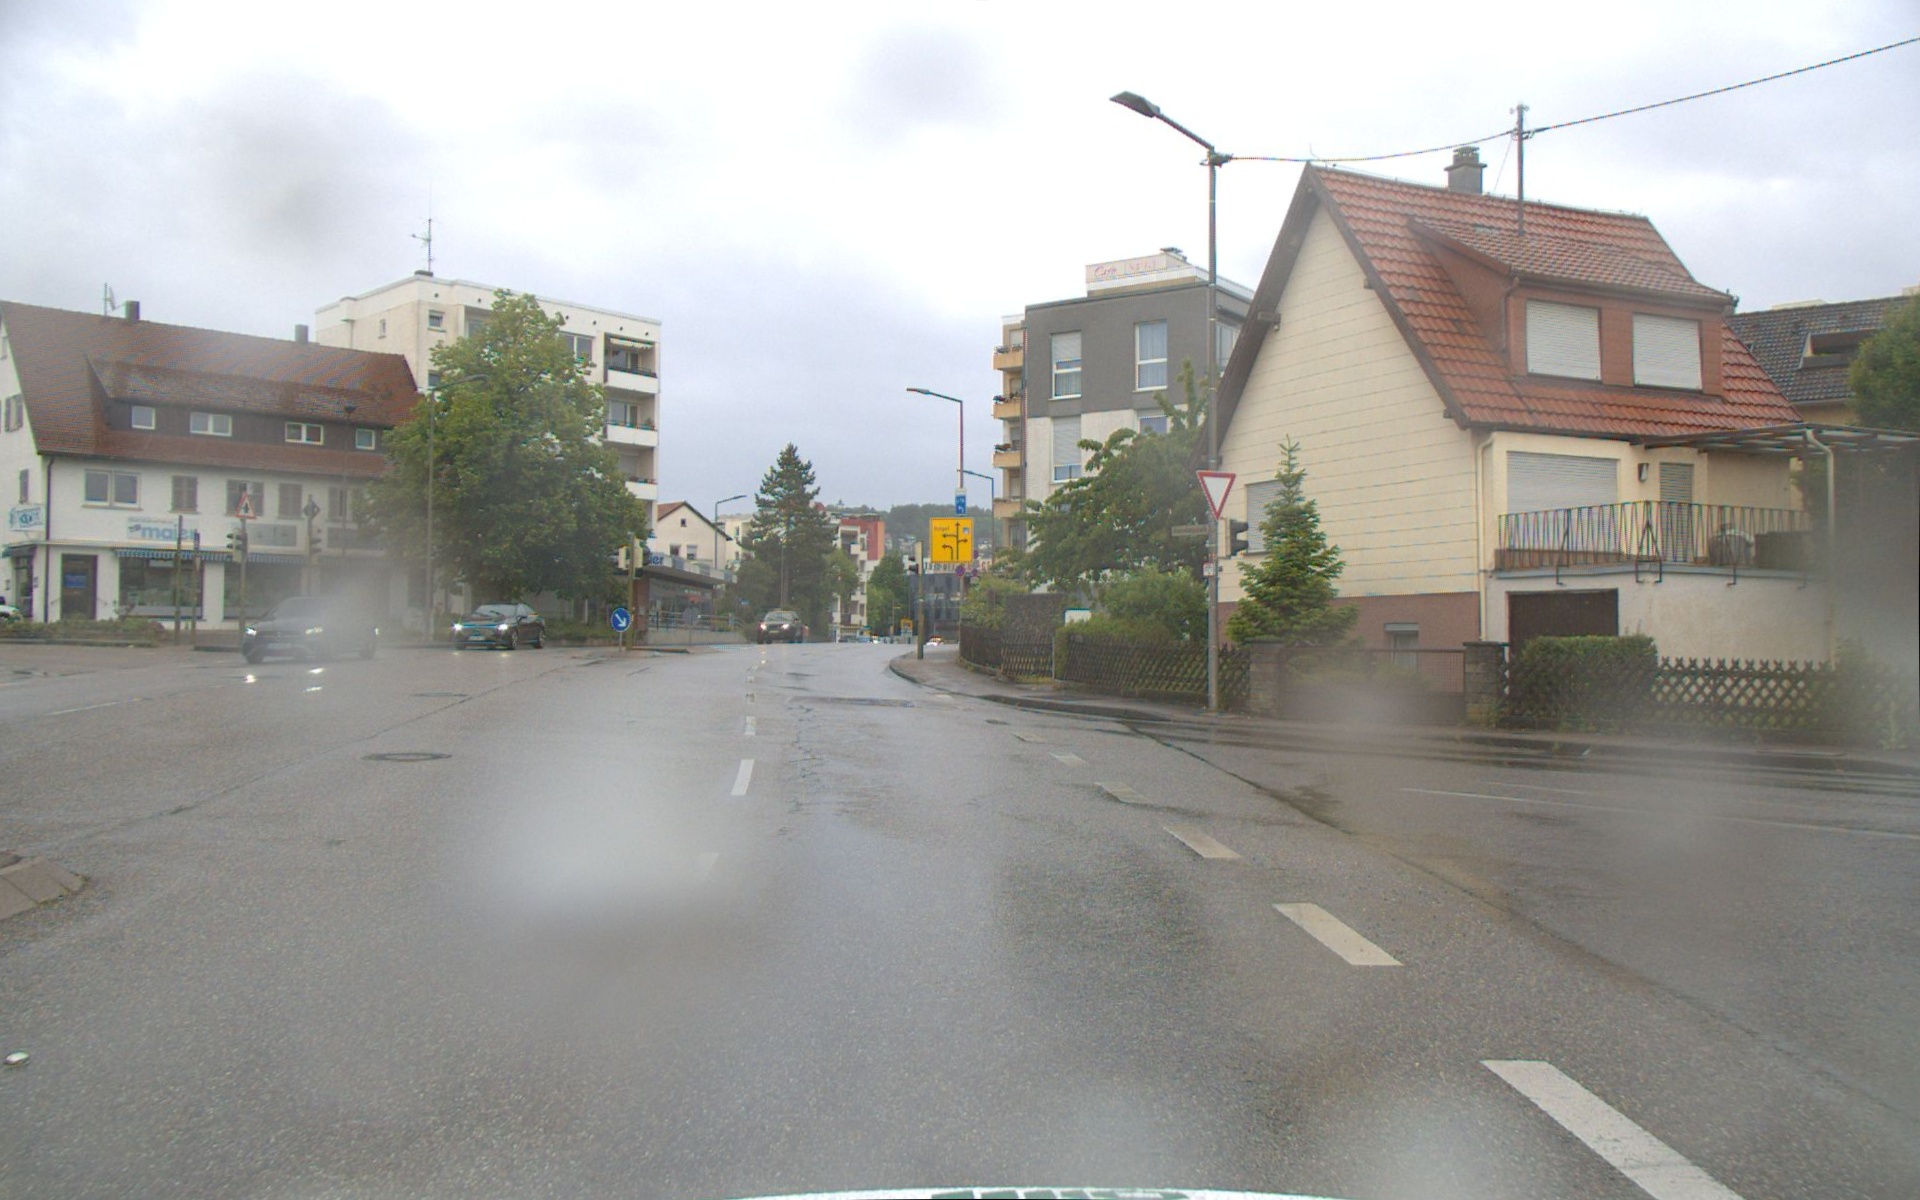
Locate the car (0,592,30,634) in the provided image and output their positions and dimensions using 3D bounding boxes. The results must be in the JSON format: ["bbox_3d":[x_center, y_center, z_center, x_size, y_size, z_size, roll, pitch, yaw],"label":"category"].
[{"bbox_3d":[-36.743,0.453,60.949,3.965,1.553,1.970,1,-1,-42],"label":"car"}]

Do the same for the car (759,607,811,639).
[{"bbox_3d":[-8.769,1.146,83.203,1.764,1.584,4.321,1,0,6],"label":"car"}]

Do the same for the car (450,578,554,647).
[{"bbox_3d":[-14.293,0.394,51.882,1.953,2.049,4.651,1,0,-1],"label":"car"}]

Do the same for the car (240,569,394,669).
[{"bbox_3d":[-14.662,0.405,38.099,2.051,2.049,5.966,-2,0,-9],"label":"car"}]

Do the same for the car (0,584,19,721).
[{"bbox_3d":[-11.304,0.561,16.329,1.752,1.498,4.161,1,0,-2],"label":"car"}]
